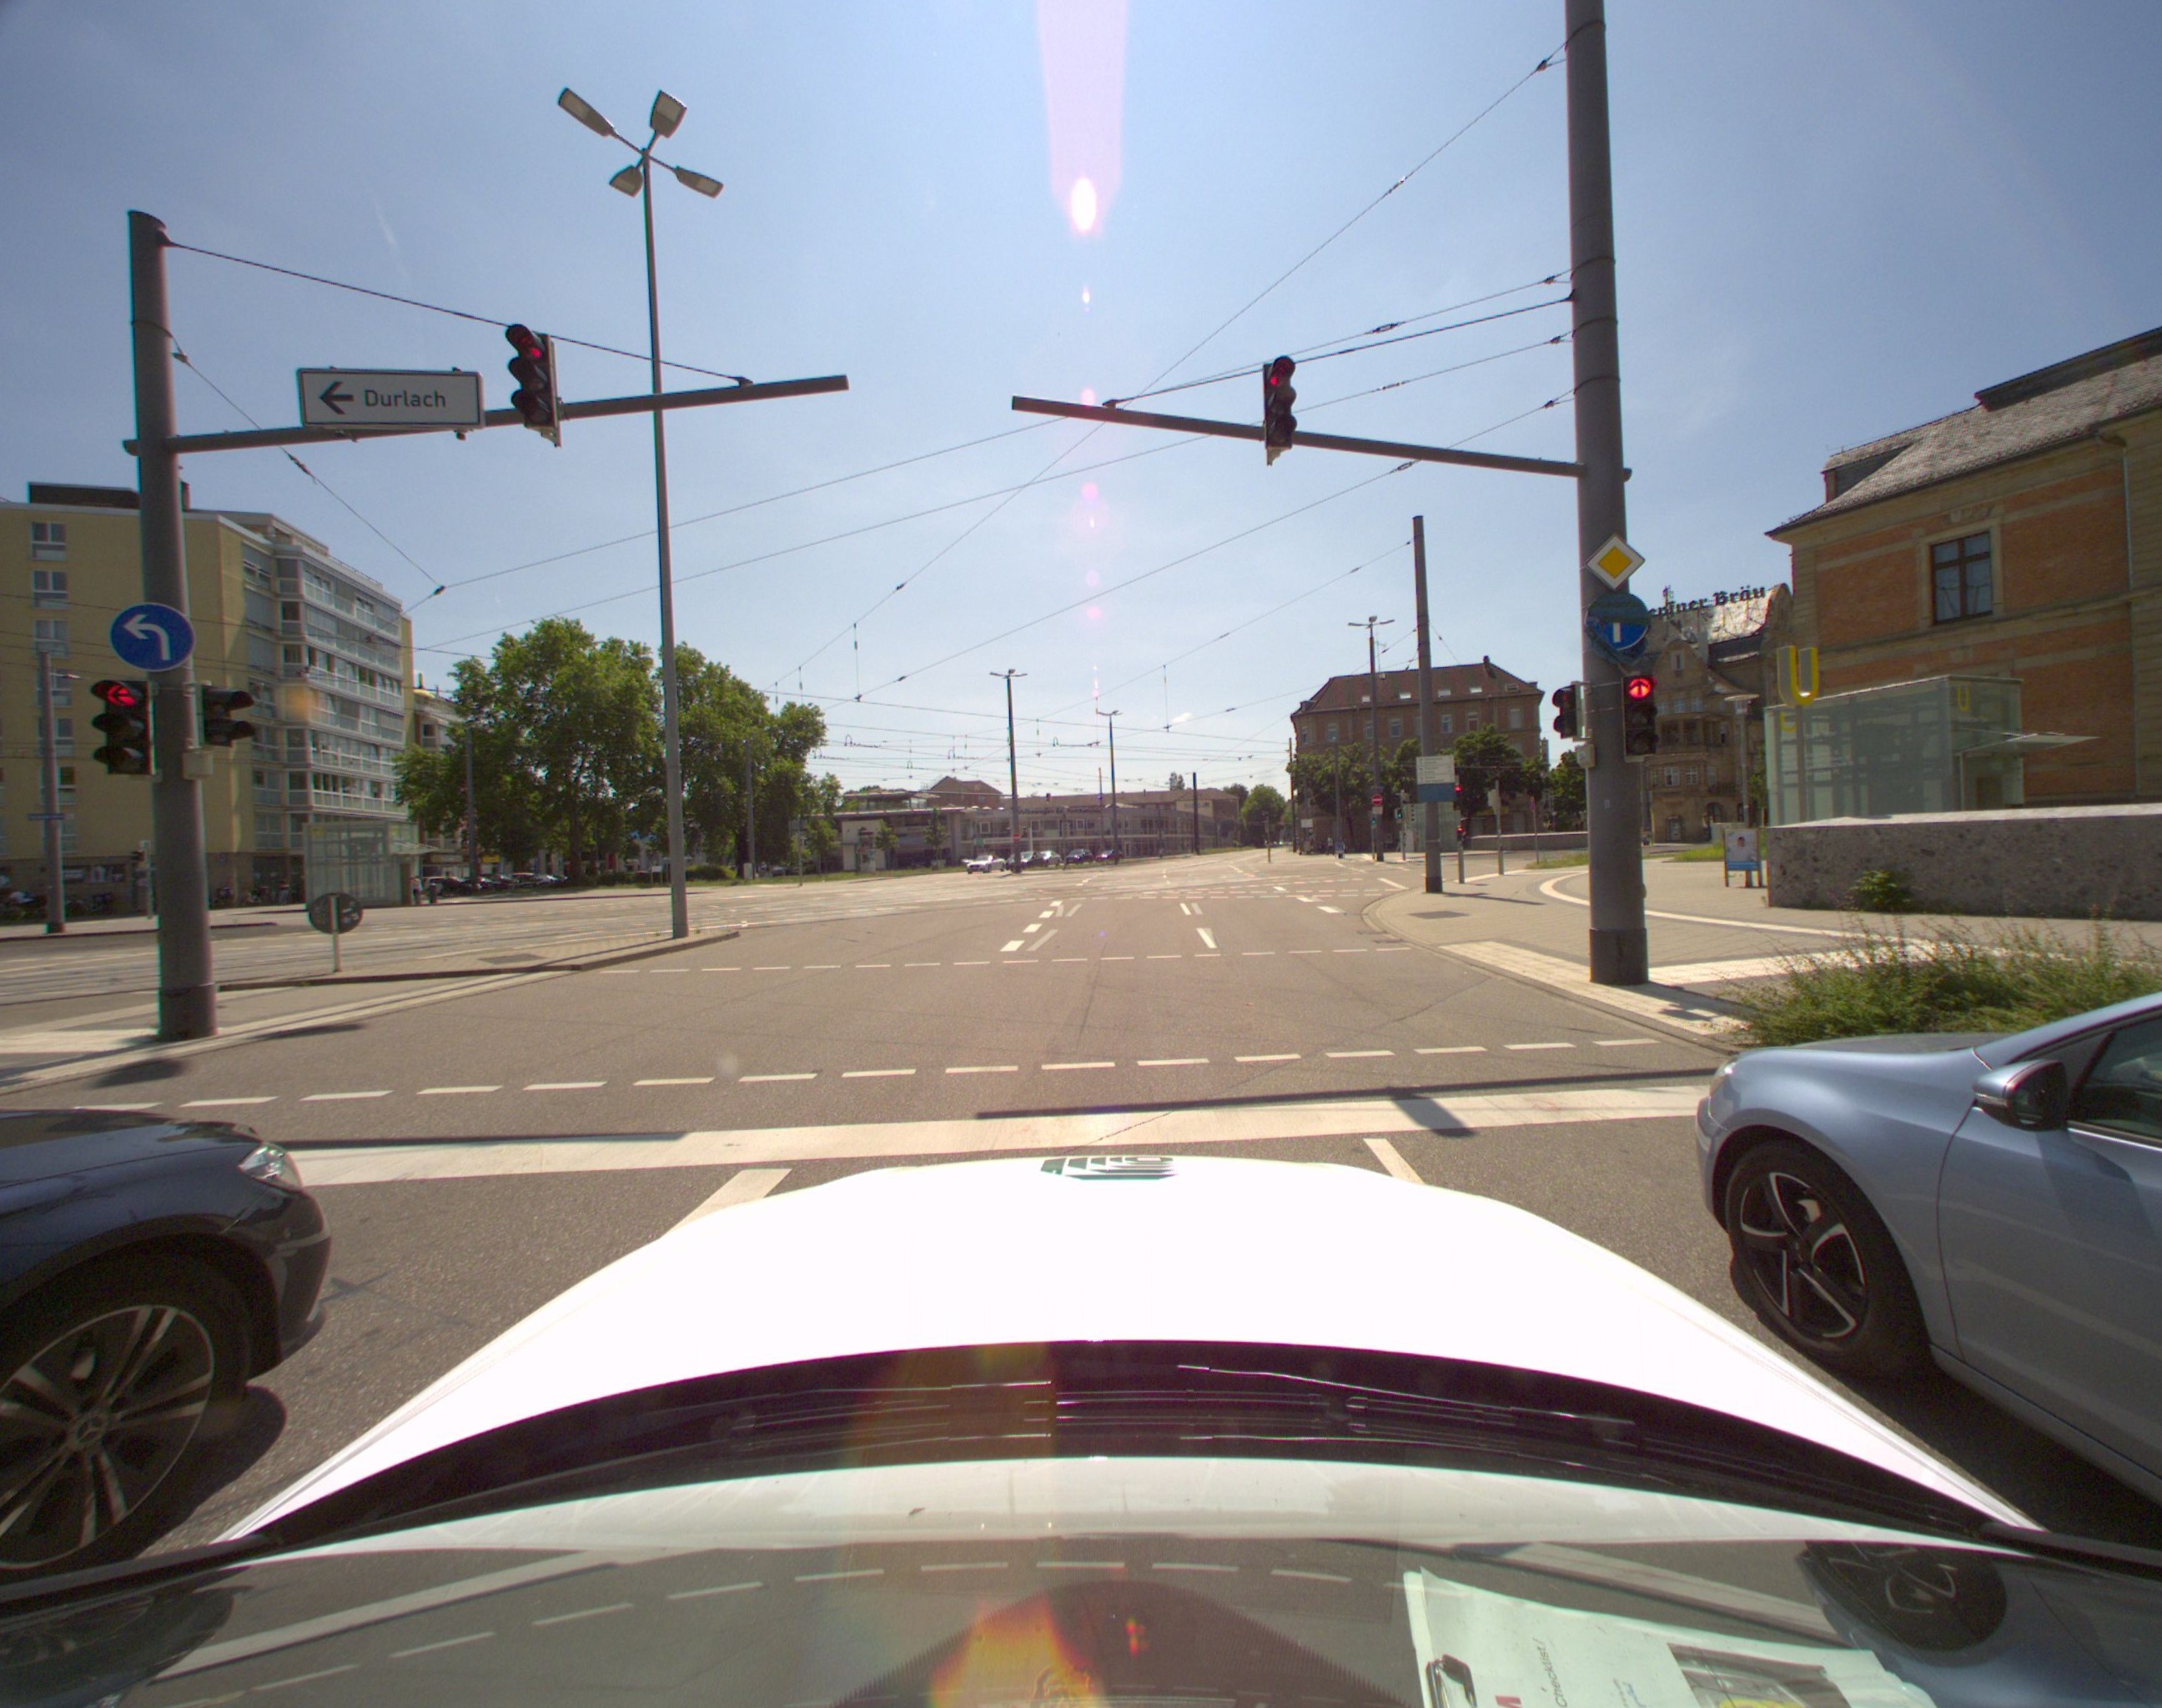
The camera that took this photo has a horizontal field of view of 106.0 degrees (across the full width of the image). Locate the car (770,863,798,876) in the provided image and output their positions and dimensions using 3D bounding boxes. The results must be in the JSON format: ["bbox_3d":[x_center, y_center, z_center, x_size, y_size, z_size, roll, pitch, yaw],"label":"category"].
[{"bbox_3d":[-37.441,1.951,102.757,1.760,1.510,4.330,-2,0,3],"label":"car"}]

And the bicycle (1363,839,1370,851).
[{"bbox_3d":[27.345,-0.884,78.065,0.546,1.119,1.829,-2,0,18],"label":"bicycle"}]

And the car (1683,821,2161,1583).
[{"bbox_3d":[2.858,0.659,0.811,1.645,1.459,4.005,-1,0,2],"label":"car"}]

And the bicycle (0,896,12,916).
[{"bbox_3d":[-58.456,2.837,44.079,0.435,1.026,1.426,-2,0,-42],"label":"bicycle"}]

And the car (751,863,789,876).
[{"bbox_3d":[-41.381,2.043,108.451,4.343,1.510,1.754,-2,0,-33],"label":"car"}]

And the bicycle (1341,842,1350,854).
[{"bbox_3d":[25.691,-0.597,79.043,0.440,1.146,2.099,-1,-1,9],"label":"bicycle"}]

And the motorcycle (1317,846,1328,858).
[{"bbox_3d":[23.315,-0.211,78.671,0.577,1.074,1.949,-2,0,6],"label":"motorcycle"}]

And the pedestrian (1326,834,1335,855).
[{"bbox_3d":[21.312,-0.814,69.611,0.461,1.708,0.637,-2,0,-13],"label":"pedestrian"}]

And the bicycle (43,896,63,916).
[{"bbox_3d":[-56.407,2.828,44.699,0.435,1.026,1.426,-2,0,-42],"label":"bicycle"}]

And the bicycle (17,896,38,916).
[{"bbox_3d":[-57.402,2.832,44.389,0.435,1.026,1.426,-2,0,-42],"label":"bicycle"}]

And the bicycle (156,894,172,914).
[{"bbox_3d":[-51.687,2.804,45.899,0.435,1.026,1.426,-2,0,-42],"label":"bicycle"}]

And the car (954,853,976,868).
[{"bbox_3d":[-14.310,0.818,100.800,1.913,1.707,4.002,0,-1,2],"label":"car"}]

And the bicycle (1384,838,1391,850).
[{"bbox_3d":[29.419,-0.928,78.203,0.546,1.120,1.879,-2,0,18],"label":"bicycle"}]

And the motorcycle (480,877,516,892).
[{"bbox_3d":[-39.552,2.065,55.253,1.925,0.961,0.521,-2,0,-29],"label":"motorcycle"}]

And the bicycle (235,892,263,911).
[{"bbox_3d":[-49.273,2.809,48.230,0.432,1.026,1.437,-2,0,-14],"label":"bicycle"}]

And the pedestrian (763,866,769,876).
[{"bbox_3d":[-38.338,2.083,99.112,0.510,1.204,0.446,-2,0,7],"label":"pedestrian"}]

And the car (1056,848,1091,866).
[{"bbox_3d":[-0.746,0.303,85.077,2.061,1.682,4.870,-2,0,19],"label":"car"}]

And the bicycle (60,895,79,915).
[{"bbox_3d":[-55.909,2.827,45.019,0.435,1.026,1.426,-2,0,-42],"label":"bicycle"}]

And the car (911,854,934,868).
[{"bbox_3d":[-19.543,0.857,100.727,1.913,1.707,4.002,0,-1,2],"label":"car"}]

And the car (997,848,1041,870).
[{"bbox_3d":[-5.323,0.441,70.655,1.977,1.700,4.870,-2,0,19],"label":"car"}]

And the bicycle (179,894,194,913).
[{"bbox_3d":[-50.800,2.801,46.256,0.435,1.026,1.426,-2,0,-42],"label":"bicycle"}]

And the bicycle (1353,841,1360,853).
[{"bbox_3d":[26.563,-0.681,78.437,0.546,1.120,1.829,-2,0,20],"label":"bicycle"}]

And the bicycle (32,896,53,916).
[{"bbox_3d":[-56.913,2.831,44.625,0.435,1.026,1.426,-2,0,-42],"label":"bicycle"}]

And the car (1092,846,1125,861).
[{"bbox_3d":[3.295,-0.073,96.944,1.974,1.776,4.025,-1,-1,38],"label":"car"}]

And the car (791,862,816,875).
[{"bbox_3d":[-34.817,1.765,102.168,1.763,1.510,4.322,-2,0,-3],"label":"car"}]

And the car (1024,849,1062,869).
[{"bbox_3d":[-3.512,0.461,76.559,1.977,1.739,4.565,-2,0,19],"label":"car"}]

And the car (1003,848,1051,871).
[{"bbox_3d":[-4.234,0.376,64.797,1.977,1.637,4.870,-2,0,19],"label":"car"}]

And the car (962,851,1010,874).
[{"bbox_3d":[-7.476,0.635,64.562,2.061,1.580,4.866,-2,0,15],"label":"car"}]

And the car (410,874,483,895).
[{"bbox_3d":[-49.270,2.339,63.336,4.002,1.420,1.986,-2,0,-21],"label":"car"}]

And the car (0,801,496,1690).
[{"bbox_3d":[-2.954,0.740,0.325,1.790,1.640,4.808,-1,0,2],"label":"car"}]

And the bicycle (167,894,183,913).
[{"bbox_3d":[-51.223,2.802,46.068,0.435,1.026,1.426,-2,0,-42],"label":"bicycle"}]

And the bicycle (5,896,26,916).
[{"bbox_3d":[-57.857,2.834,44.230,0.435,1.026,1.426,-2,0,-42],"label":"bicycle"}]

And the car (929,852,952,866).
[{"bbox_3d":[-17.353,0.643,100.684,1.913,1.707,4.002,0,-1,2],"label":"car"}]
